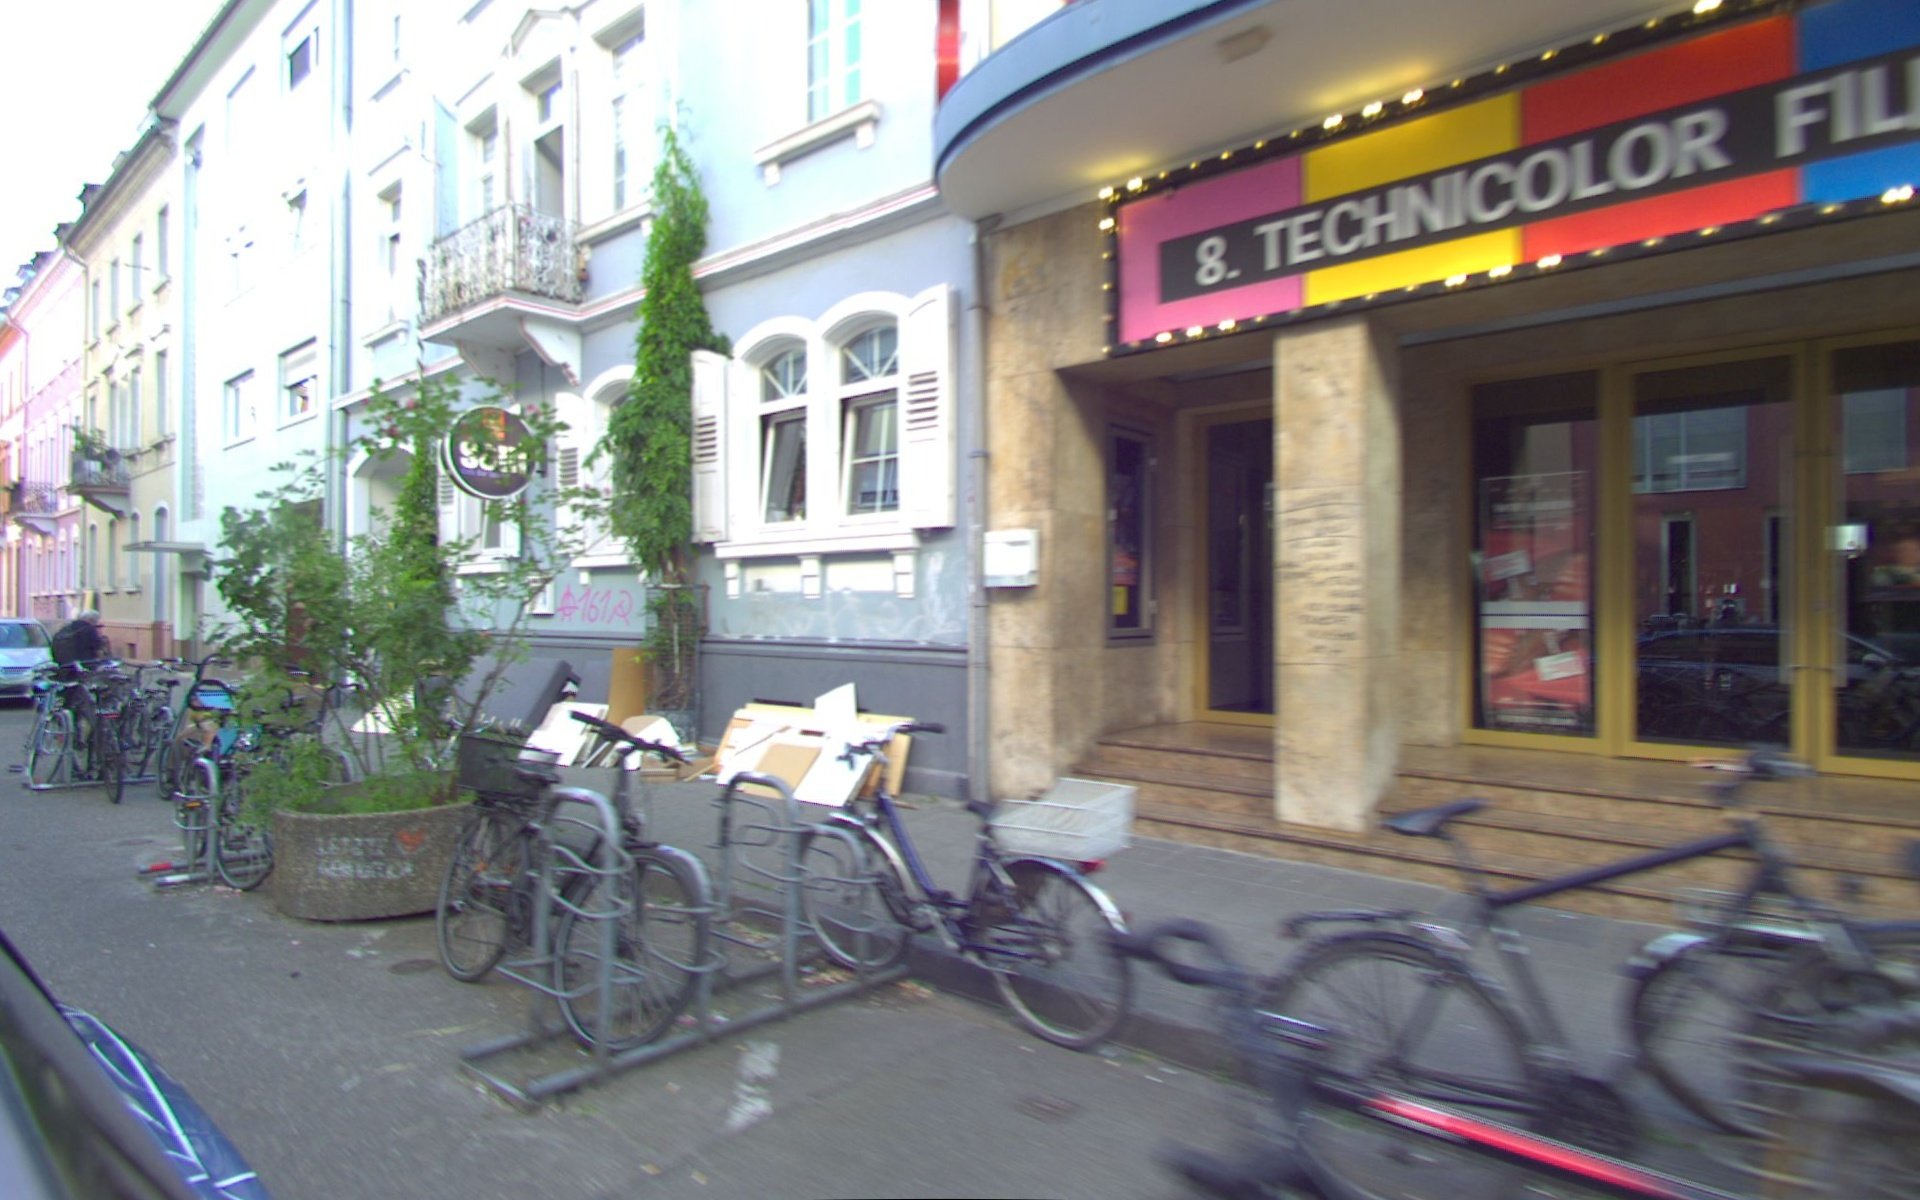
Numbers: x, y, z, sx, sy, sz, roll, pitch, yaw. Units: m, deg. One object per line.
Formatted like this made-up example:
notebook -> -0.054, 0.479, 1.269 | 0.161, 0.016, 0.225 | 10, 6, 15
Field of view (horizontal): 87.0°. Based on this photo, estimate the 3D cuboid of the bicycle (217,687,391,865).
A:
bicycle -> -4.373, 1.100, 6.709 | 1.571, 0.951, 0.548 | -1, -2, 41

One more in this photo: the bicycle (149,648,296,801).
bicycle -> -6.349, 1.028, 8.714 | 0.919, 1.184, 0.805 | -1, -1, 38

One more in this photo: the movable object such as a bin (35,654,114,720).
movable object such as a bin -> -13.293, 1.293, 15.213 | 0.833, 0.904, 0.587 | -1, 0, -35

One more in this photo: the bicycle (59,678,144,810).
bicycle -> -6.933, 1.123, 8.158 | 1.289, 0.923, 0.318 | -1, -2, 41

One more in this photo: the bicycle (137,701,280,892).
bicycle -> -4.493, 1.110, 6.019 | 1.392, 0.923, 0.386 | -1, -2, 41

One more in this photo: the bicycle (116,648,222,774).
bicycle -> -7.960, 1.063, 10.159 | 1.872, 1.114, 0.439 | -1, -1, 39

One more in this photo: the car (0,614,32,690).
car -> -20.283, 1.012, 20.406 | 3.996, 1.463, 1.772 | -1, -2, 40

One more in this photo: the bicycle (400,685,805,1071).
bicycle -> -1.475, 0.944, 3.978 | 1.878, 1.102, 0.541 | -1, 0, 37

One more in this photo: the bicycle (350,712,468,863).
bicycle -> -3.662, 1.201, 6.696 | 1.299, 0.824, 0.253 | -1, -1, 41

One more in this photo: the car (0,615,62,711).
car -> -16.194, 0.986, 16.732 | 4.034, 1.466, 1.662 | -1, -3, 44

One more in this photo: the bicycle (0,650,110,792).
bicycle -> -8.196, 1.036, 9.139 | 1.828, 1.114, 0.494 | -1, -1, 40

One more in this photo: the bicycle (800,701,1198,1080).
bicycle -> 0.108, 0.961, 3.775 | 1.407, 1.053, 0.568 | -1, -1, 36

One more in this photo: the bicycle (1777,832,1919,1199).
bicycle -> 2.141, 0.950, 1.142 | 1.862, 1.055, 0.438 | -1, 0, 37

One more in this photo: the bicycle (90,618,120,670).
bicycle -> -21.291, 1.082, 25.187 | 1.493, 1.269, 0.315 | -1, -1, 40

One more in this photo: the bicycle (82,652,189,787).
bicycle -> -7.849, 1.081, 9.607 | 1.930, 1.114, 0.439 | -1, -1, 40

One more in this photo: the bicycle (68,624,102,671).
bicycle -> -21.492, 1.158, 24.854 | 1.493, 1.110, 0.413 | -1, -1, 40

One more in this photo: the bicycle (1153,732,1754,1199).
bicycle -> 1.196, 0.935, 2.609 | 1.316, 1.055, 0.413 | -1, 0, 37

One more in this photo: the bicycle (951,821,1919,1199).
bicycle -> 0.877, 0.925, 1.290 | 1.740, 1.055, 0.458 | -1, 0, 25

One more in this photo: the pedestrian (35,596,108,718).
pedestrian -> -12.977, 0.810, 14.799 | 0.703, 1.720, 0.674 | -1, 0, -32

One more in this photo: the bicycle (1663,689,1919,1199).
bicycle -> 2.480, 0.834, 2.249 | 1.487, 1.182, 0.336 | -1, 0, 37

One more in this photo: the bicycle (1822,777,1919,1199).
bicycle -> 2.492, 0.980, 1.606 | 1.666, 1.182, 0.395 | -1, 0, 37

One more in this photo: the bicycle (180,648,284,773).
bicycle -> -7.286, 1.056, 10.099 | 1.696, 1.114, 0.439 | -1, -1, 40
